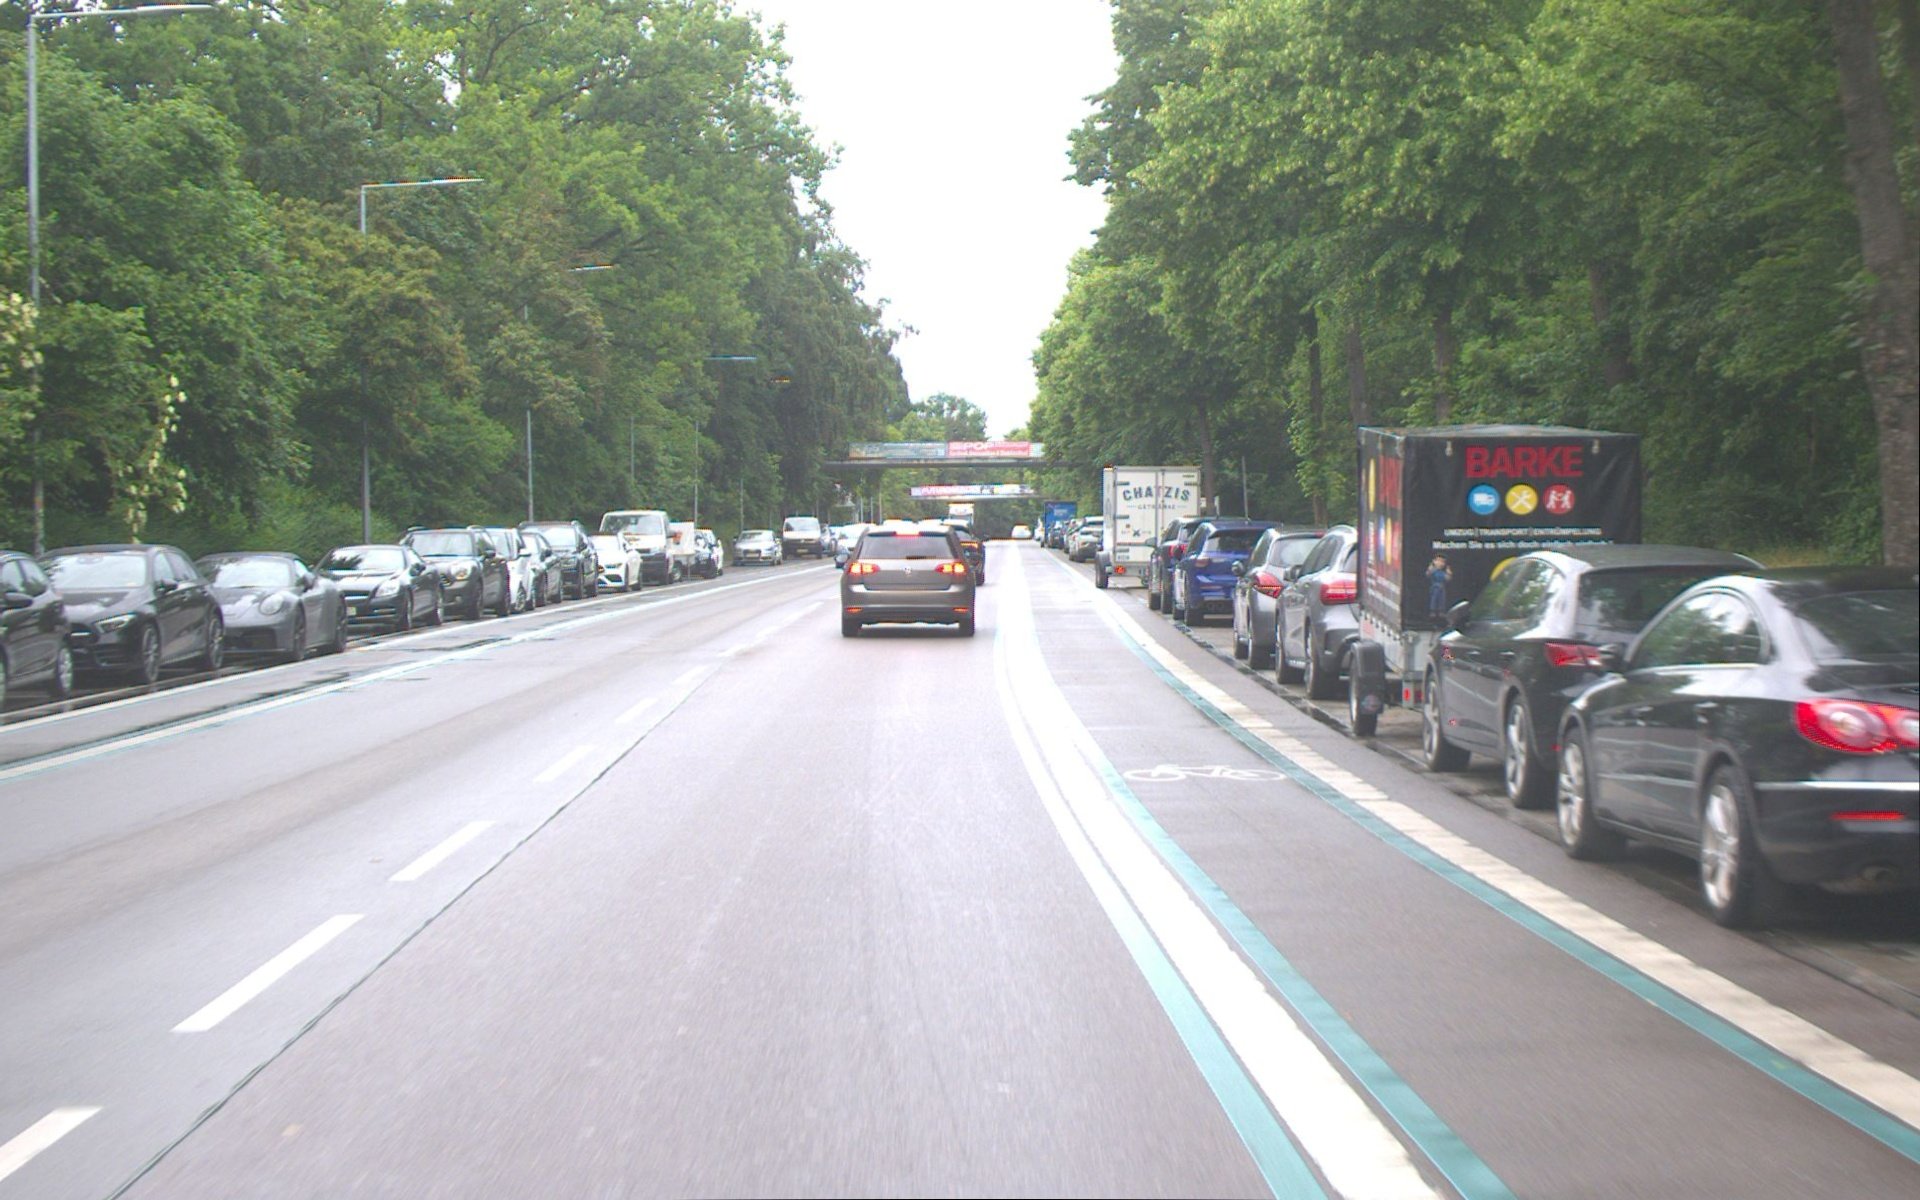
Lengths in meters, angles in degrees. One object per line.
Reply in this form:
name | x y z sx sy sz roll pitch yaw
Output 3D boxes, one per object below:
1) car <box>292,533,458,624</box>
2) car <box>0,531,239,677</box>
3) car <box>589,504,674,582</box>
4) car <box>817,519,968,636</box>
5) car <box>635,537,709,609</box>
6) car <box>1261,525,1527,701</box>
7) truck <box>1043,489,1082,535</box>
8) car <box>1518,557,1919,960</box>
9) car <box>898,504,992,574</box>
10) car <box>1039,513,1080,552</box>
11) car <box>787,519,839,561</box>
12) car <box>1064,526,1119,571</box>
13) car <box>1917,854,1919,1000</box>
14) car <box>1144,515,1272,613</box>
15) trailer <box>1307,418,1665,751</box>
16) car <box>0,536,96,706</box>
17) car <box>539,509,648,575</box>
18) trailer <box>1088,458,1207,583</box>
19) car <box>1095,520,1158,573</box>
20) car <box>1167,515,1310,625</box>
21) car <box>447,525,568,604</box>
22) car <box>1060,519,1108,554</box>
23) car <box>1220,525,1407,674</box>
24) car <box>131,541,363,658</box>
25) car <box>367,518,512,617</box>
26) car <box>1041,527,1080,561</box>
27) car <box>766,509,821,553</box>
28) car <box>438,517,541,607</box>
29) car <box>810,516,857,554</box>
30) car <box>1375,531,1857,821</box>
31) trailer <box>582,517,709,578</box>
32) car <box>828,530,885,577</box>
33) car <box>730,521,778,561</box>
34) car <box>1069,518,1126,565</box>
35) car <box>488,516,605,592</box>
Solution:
car | -8.796 -0.348 51.980 1.696 1.296 4.192 0 1 1
car | -9.197 0.002 36.731 1.993 1.447 4.138 0 1 2
car | -8.616 -1.519 90.383 1.939 2.007 4.741 0 1 -2
car | -0.909 -0.280 45.559 1.871 1.436 4.296 1 0 -1
car | -8.422 -0.815 100.989 1.939 2.007 4.741 0 1 -2
car | 3.812 0.057 30.894 1.795 1.445 4.429 -1 1 0
truck | 5.802 -5.000 195.245 2.113 2.590 4.301 0 1 1
car | 3.709 0.553 14.456 1.751 1.389 4.446 2 1 -3
car | -0.354 -1.367 76.025 1.880 1.461 4.001 2 1 -3
car | 5.209 -3.522 180.083 1.993 2.007 4.000 0 1 0
car | -7.155 -2.935 167.834 2.159 2.007 5.031 0 1 2
car | 4.769 -1.896 125.150 1.897 1.601 4.000 0 1 1
car | 4.118 0.643 9.419 1.617 1.461 4.001 1 1 -4
car | 3.935 -0.608 55.073 1.713 1.507 3.976 0 1 -1
trailer | 3.774 -0.161 25.498 1.906 2.240 4.768 0 1 0
car | -9.426 0.175 32.117 1.603 1.505 3.977 0 1 2
car | -8.490 -1.367 80.001 1.993 1.483 4.468 0 1 1
trailer | 3.887 -1.668 72.049 2.132 2.551 4.298 0 1 -2
car | 4.856 -1.586 100.816 1.722 1.520 4.000 0 1 1
car | 3.935 -0.461 49.195 1.682 1.476 4.319 0 2 0
car | -8.837 -0.721 67.396 1.808 1.483 4.469 0 1 0
car | 5.606 -2.876 155.554 1.993 1.525 4.000 0 1 0
car | 3.700 -0.048 36.516 1.615 1.465 4.000 1 1 1
car | -8.537 -0.045 41.521 1.870 1.299 4.471 0 1 0
car | -8.654 -0.577 57.432 1.696 1.578 4.139 0 1 1
car | 5.478 -3.069 187.452 1.993 1.766 4.000 -2 1 1
car | -7.697 -3.211 159.726 2.159 2.007 5.031 0 1 2
car | -8.477 -0.703 62.098 1.461 1.566 2.984 -1 1 -1
car | -6.777 -3.499 184.711 2.159 2.007 5.031 0 1 2
car | 3.727 0.360 20.296 1.822 1.480 4.200 2 1 -3
trailer | -8.714 -1.470 95.414 1.628 1.623 3.666 0 2 32
car | -3.487 -1.585 116.042 1.698 1.479 4.035 -1 1 1
car | -8.110 -2.340 135.369 1.672 1.508 3.630 0 2 0
car | 4.792 -2.062 120.528 1.897 1.601 4.000 0 1 1
car | -8.803 -1.001 73.501 1.879 1.556 4.468 0 1 1
